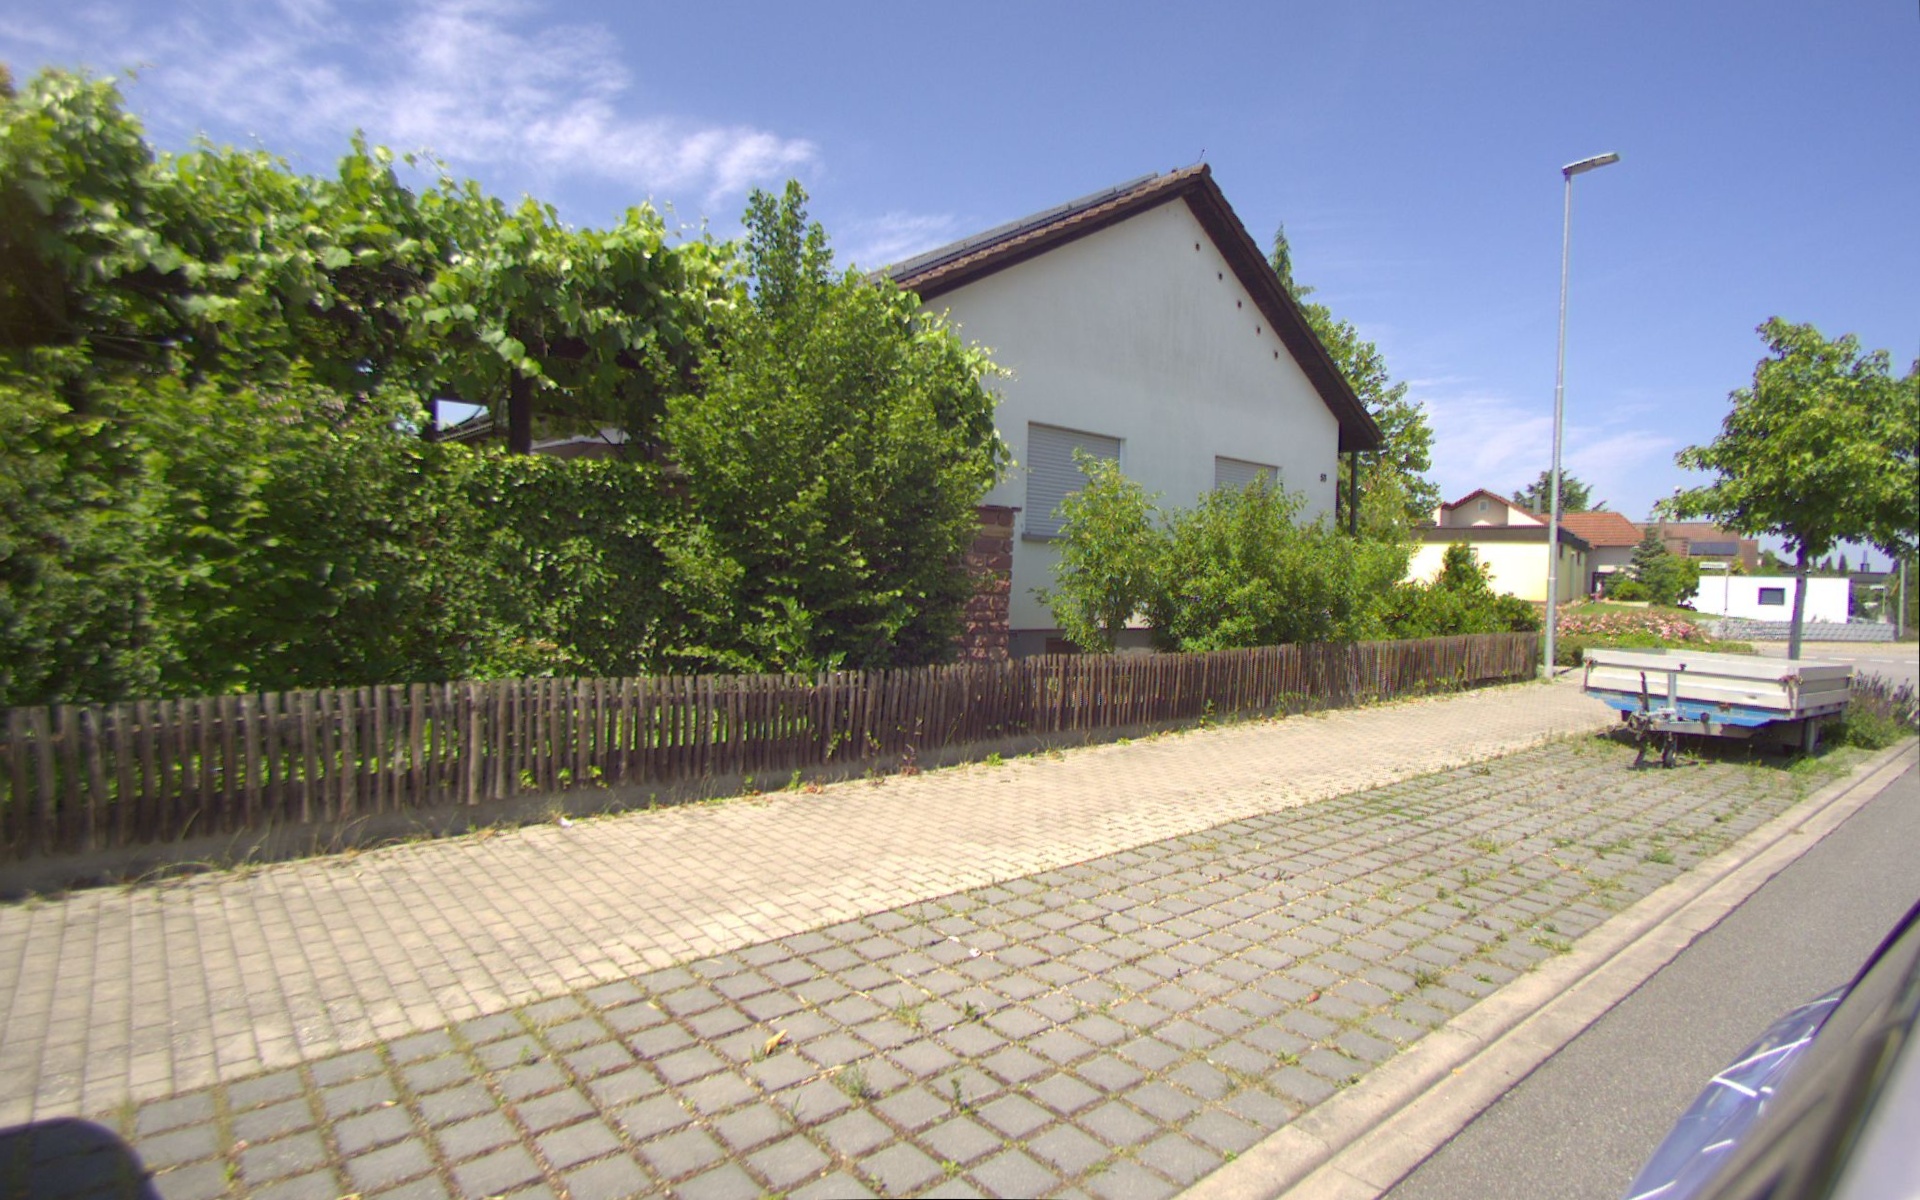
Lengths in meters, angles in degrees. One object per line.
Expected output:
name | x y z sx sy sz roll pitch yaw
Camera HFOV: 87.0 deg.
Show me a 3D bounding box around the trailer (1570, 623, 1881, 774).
trailer | 7.370 0.824 9.695 2.847 1.071 1.791 0 2 -40
